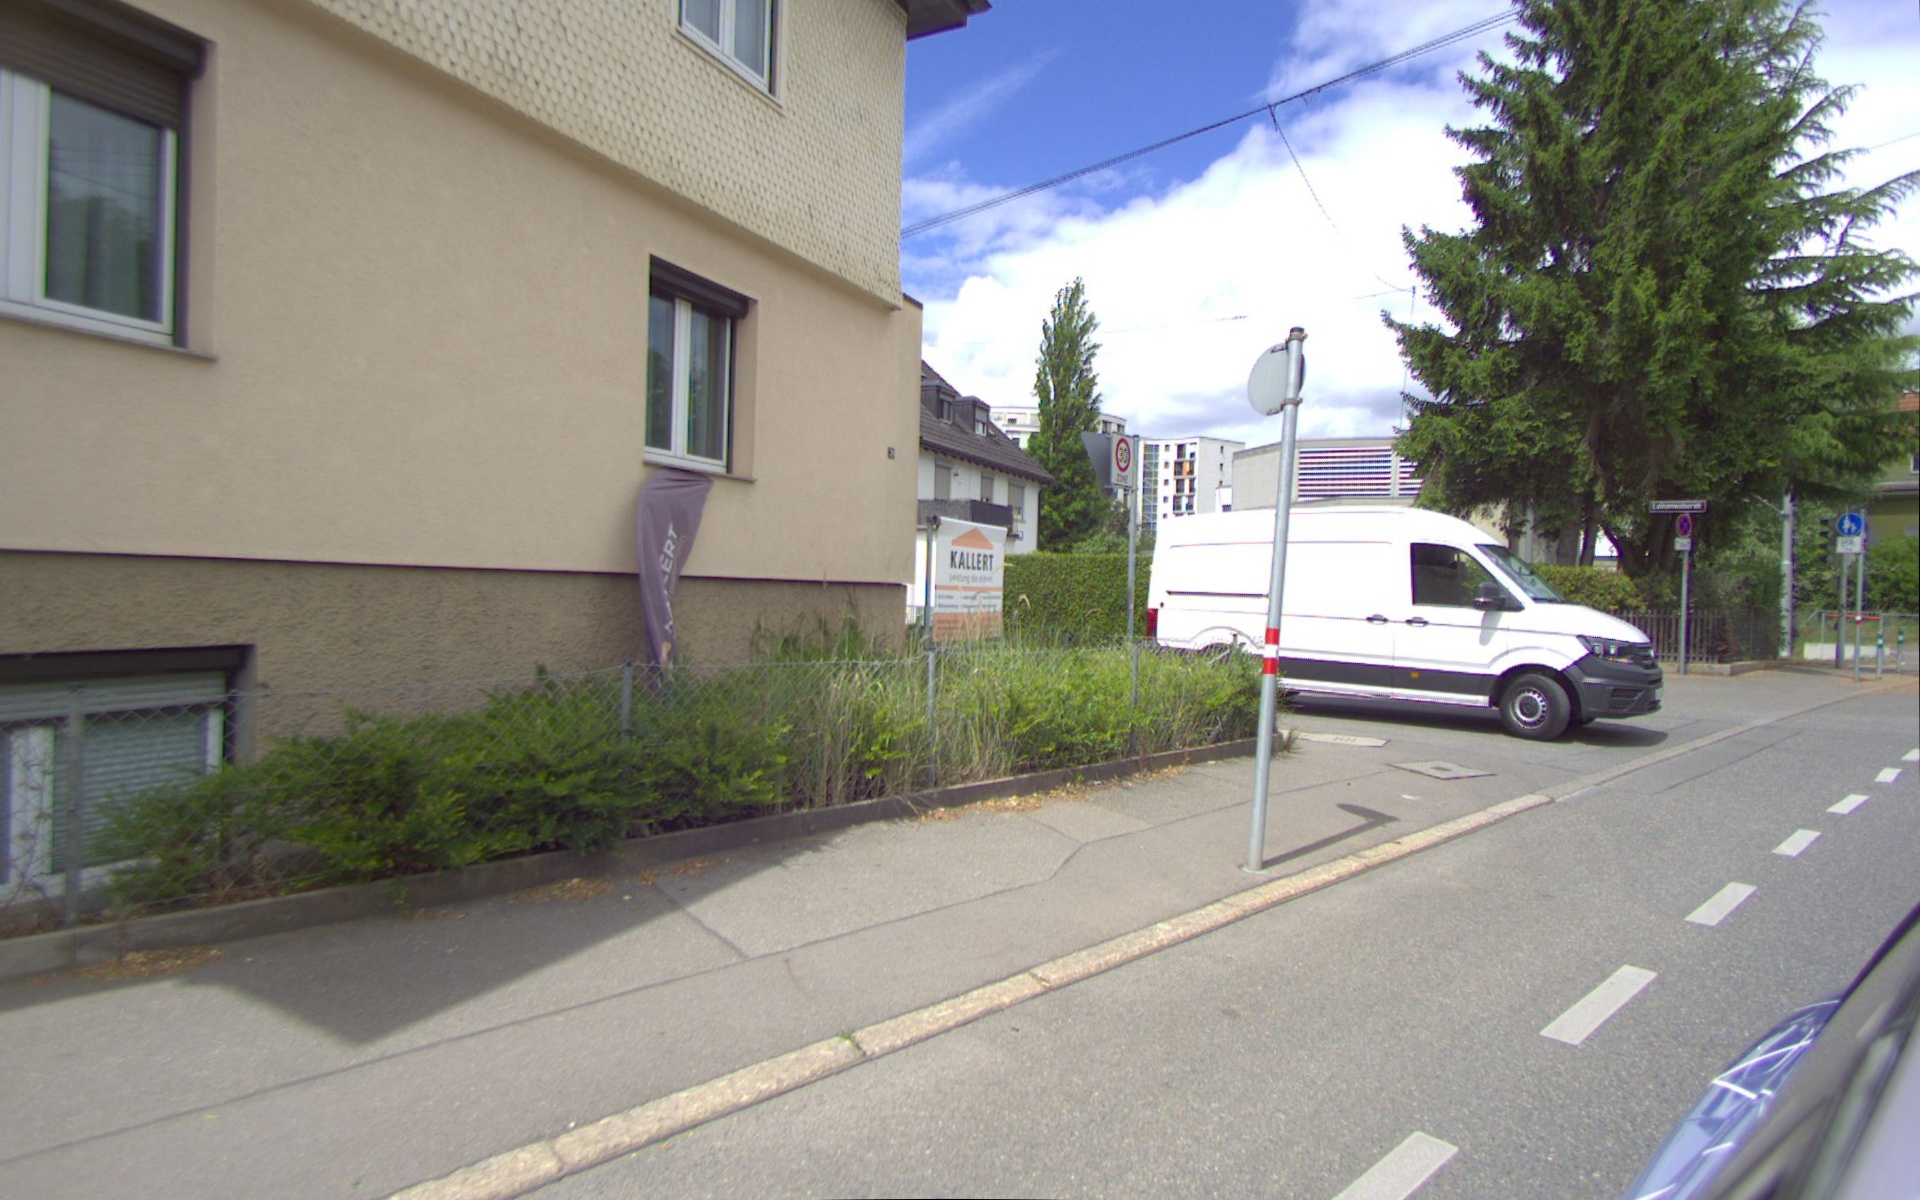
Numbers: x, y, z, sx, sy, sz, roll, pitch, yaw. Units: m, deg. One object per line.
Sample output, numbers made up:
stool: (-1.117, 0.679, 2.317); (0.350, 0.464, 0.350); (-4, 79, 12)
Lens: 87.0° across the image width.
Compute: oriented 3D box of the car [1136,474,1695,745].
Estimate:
car: (5.281, 0.019, 12.551); (5.995, 2.614, 1.969); (2, 1, 43)
